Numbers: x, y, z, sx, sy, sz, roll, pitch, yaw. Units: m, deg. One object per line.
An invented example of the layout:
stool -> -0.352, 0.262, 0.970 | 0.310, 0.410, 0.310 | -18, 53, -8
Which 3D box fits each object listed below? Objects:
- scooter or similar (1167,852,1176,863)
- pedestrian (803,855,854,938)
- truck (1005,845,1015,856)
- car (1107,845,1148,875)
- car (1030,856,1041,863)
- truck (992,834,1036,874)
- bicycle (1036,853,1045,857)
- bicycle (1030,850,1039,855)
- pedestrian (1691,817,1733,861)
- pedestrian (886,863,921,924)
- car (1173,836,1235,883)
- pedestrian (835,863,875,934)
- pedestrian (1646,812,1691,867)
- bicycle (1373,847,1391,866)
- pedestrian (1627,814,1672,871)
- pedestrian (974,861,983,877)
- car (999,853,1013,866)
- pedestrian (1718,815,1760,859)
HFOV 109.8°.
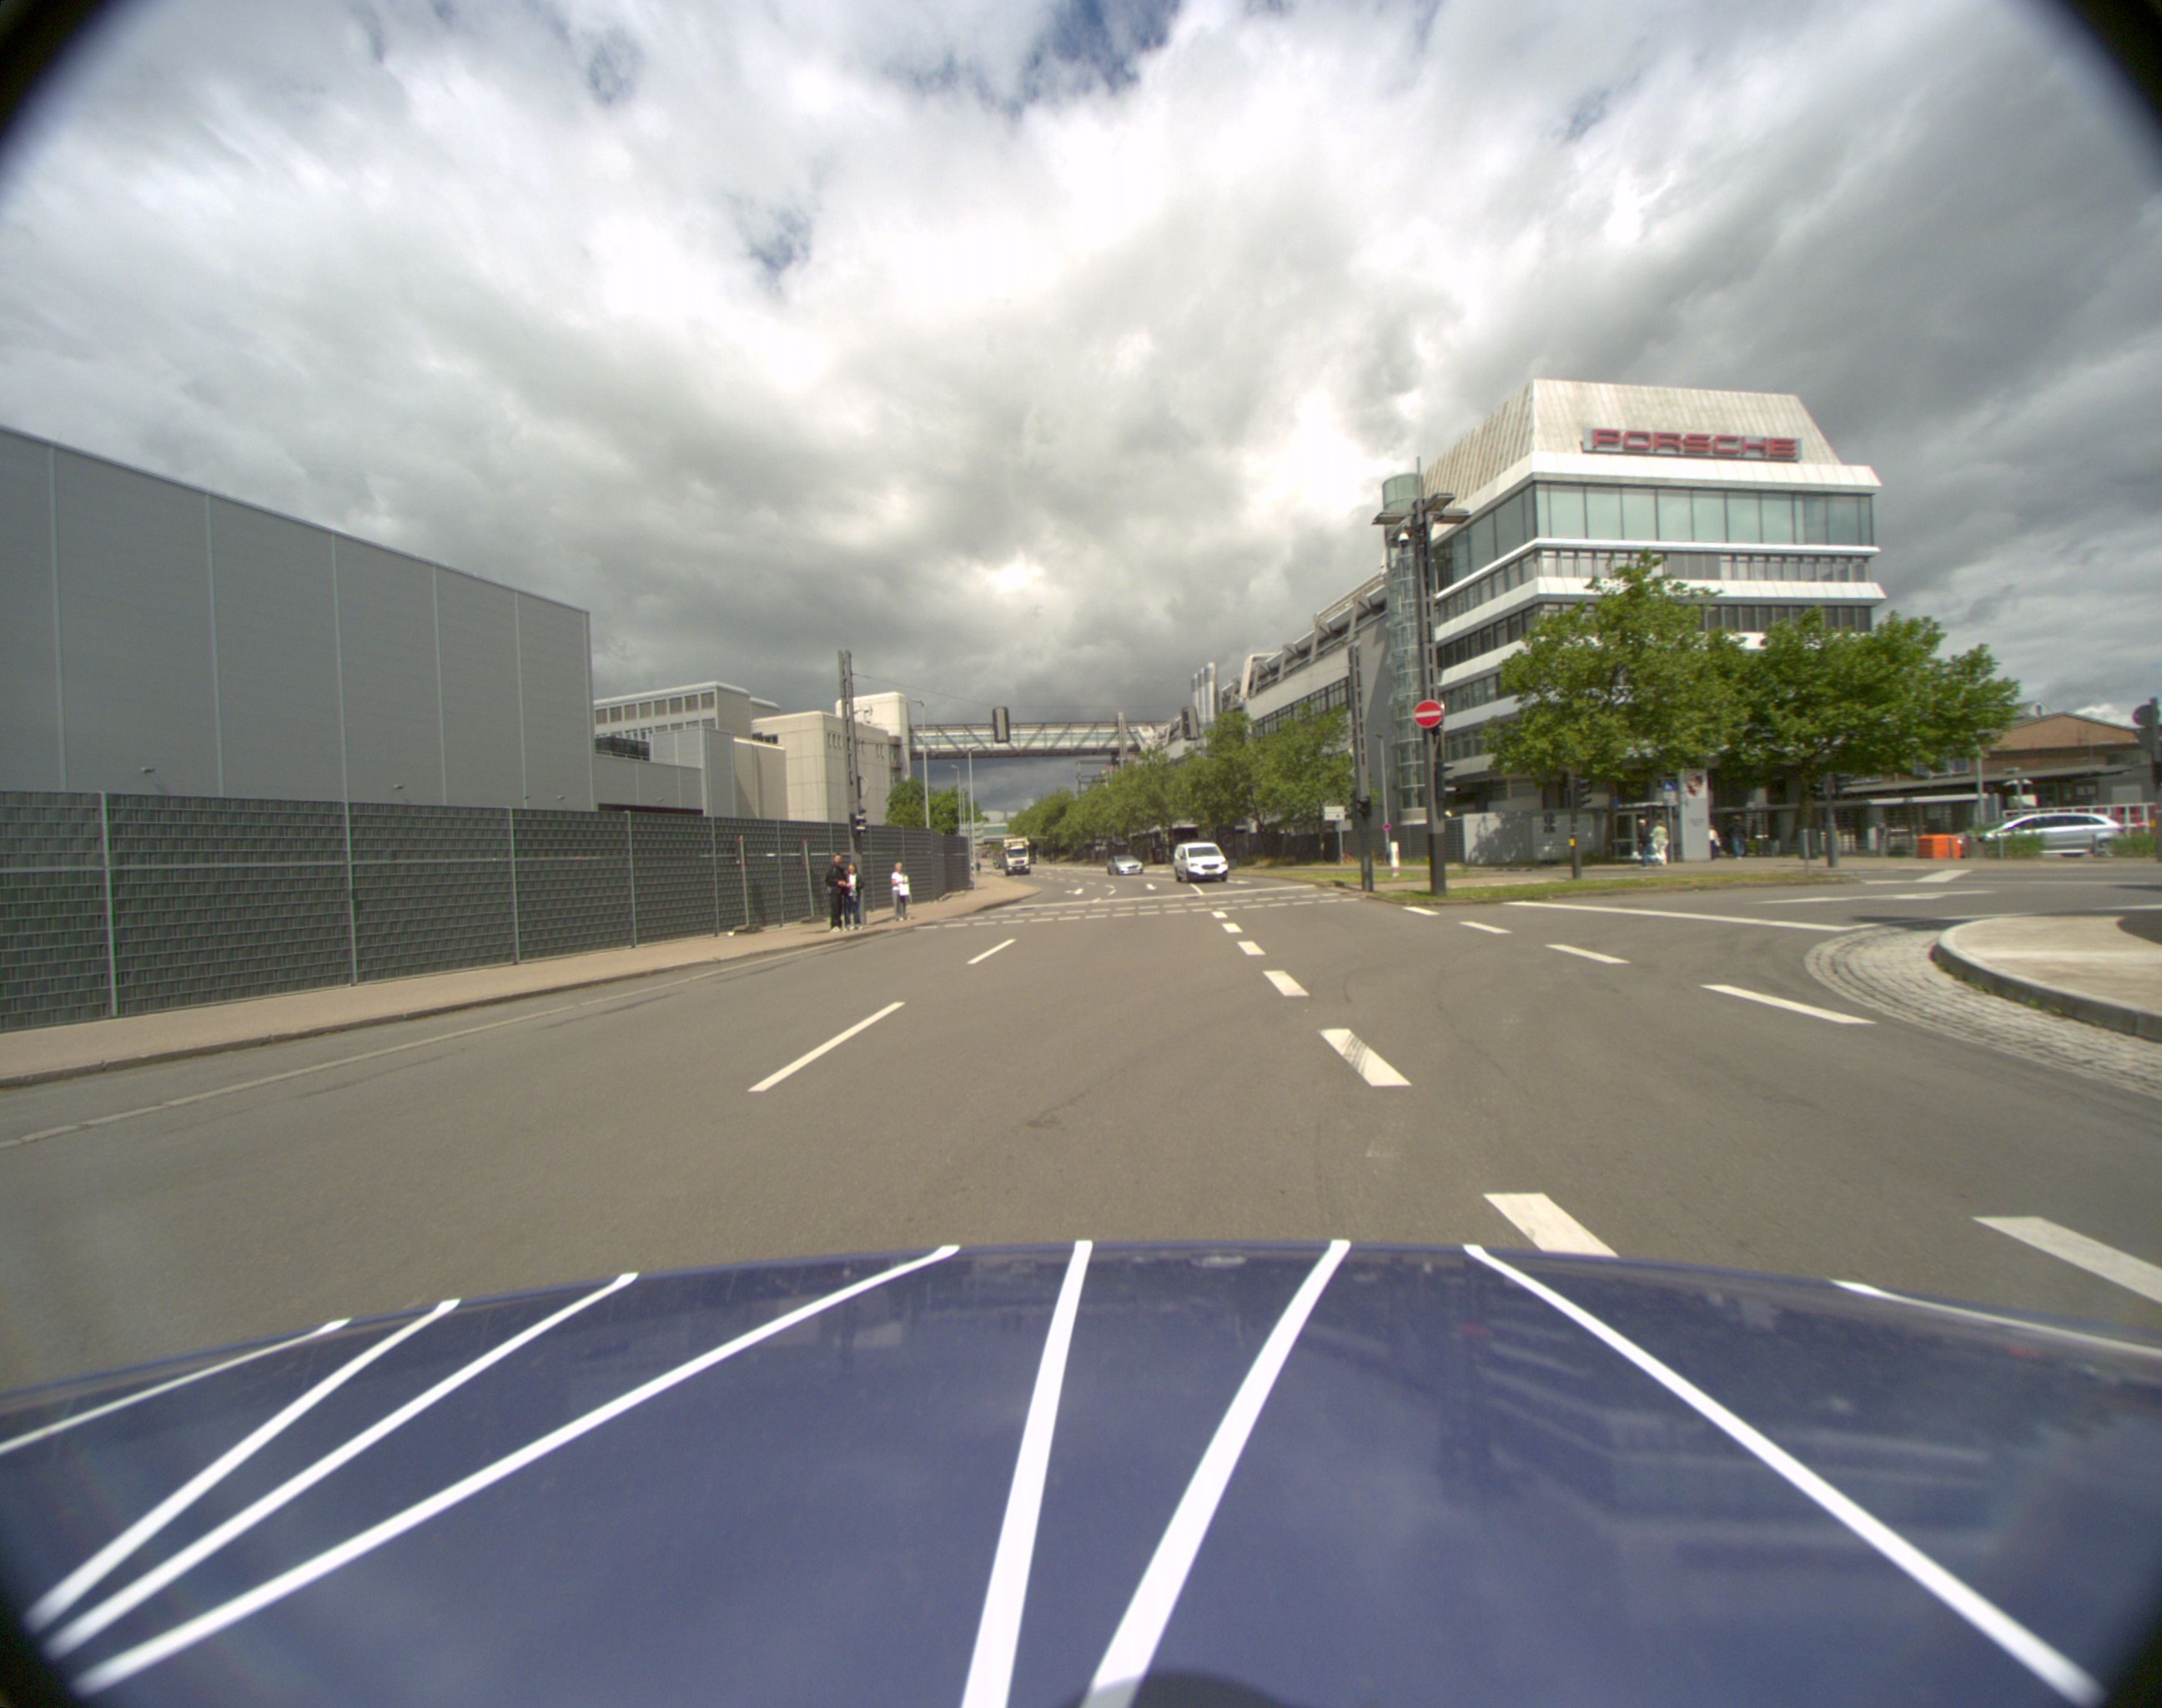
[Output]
scooter or similar -> 10.460, 0.437, 87.981 | 0.524, 1.227, 1.316 | -6, 0, -11
pedestrian -> -5.882, 0.973, 17.709 | 0.660, 1.856, 0.795 | -2, 2, 43
truck -> -20.794, -0.959, 223.160 | 2.460, 3.111, 7.237 | -4, 1, -7
car -> 3.312, 0.365, 55.068 | 1.873, 1.944, 4.707 | -4, 2, -9
car -> -9.826, 1.129, 165.377 | 1.884, 1.496, 4.187 | -1, 0, -10
truck -> -7.338, 0.032, 81.915 | 2.716, 3.863, 10.728 | -4, 1, -14
bicycle -> -11.507, 0.290, 214.779 | 2.563, 1.079, 0.615 | -4, 1, -5
bicycle -> -13.828, -0.425, 226.546 | 2.564, 1.171, 0.615 | -4, 2, -10
pedestrian -> 26.650, -0.620, 32.112 | 0.867, 1.764, 1.033 | -4, 2, -24
pedestrian -> -4.937, 1.079, 21.192 | 0.661, 1.599, 0.823 | -4, 2, 1
car -> 5.713, 0.305, 35.791 | 1.825, 2.001, 4.390 | -3, -1, -4
pedestrian -> -5.405, 1.052, 18.175 | 0.464, 1.606, 0.664 | -2, 2, 44
pedestrian -> 22.654, -0.552, 29.324 | 0.954, 2.043, 0.951 | -3, 2, 9
bicycle -> 18.609, 0.143, 46.963 | 0.297, 1.125, 1.483 | -4, 1, -7
pedestrian -> 21.402, -0.430, 28.632 | 0.954, 2.043, 0.951 | -3, 2, 9
pedestrian -> -11.280, 1.616, 83.937 | 0.797, 1.711, 0.731 | -4, 2, -14
car -> -12.512, 0.825, 126.204 | 1.873, 1.944, 4.706 | -5, 2, -9
pedestrian -> 27.903, -0.709, 32.211 | 0.867, 1.764, 1.033 | -4, 2, -24
